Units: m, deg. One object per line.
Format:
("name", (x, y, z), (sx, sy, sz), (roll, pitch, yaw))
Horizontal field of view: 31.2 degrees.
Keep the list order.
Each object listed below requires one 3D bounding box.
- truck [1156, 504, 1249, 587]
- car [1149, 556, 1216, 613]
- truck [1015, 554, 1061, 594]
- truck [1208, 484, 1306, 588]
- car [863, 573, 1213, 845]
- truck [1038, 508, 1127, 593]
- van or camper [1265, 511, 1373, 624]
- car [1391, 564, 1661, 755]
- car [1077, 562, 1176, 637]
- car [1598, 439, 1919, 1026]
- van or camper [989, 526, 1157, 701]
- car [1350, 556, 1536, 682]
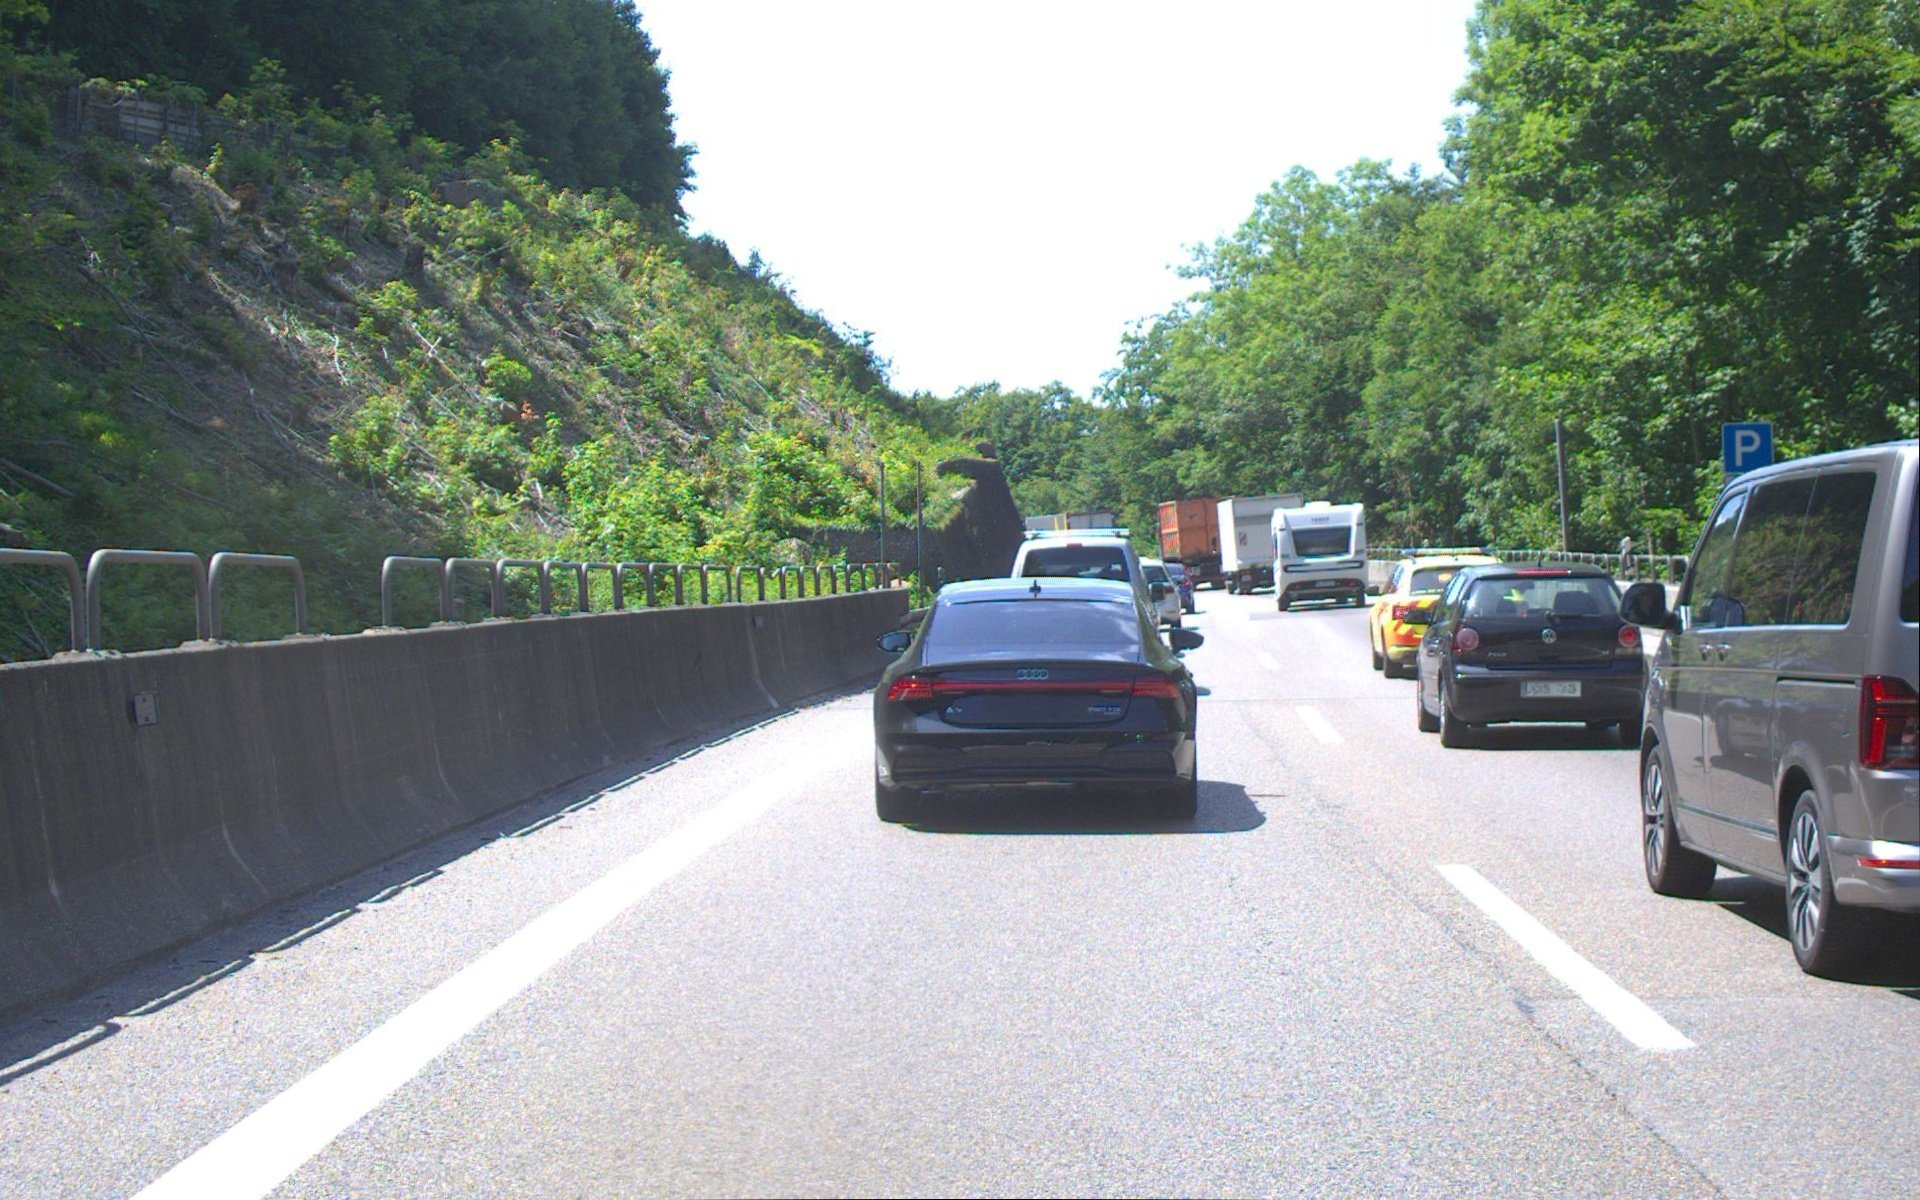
("truck", (10.277, -2.298, 146.557), (3.163, 3.456, 8.222), (0, 1, -2))
("car", (6.198, -0.440, 96.050), (1.751, 1.565, 3.771), (0, 1, 2))
("truck", (3.939, -1.321, 173.936), (1.993, 2.007, 4.001), (0, 1, -3))
("truck", (10.797, -2.312, 125.653), (2.925, 3.674, 7.724), (0, 1, 0))
("car", (0.371, 0.583, 21.225), (1.904, 1.484, 4.379), (0, 1, -2))
("truck", (6.591, -2.682, 186.654), (3.709, 4.488, 7.726), (0, 1, -7))
("van or camper", (9.302, -0.853, 89.613), (2.604, 2.845, 6.334), (0, 1, 4))
("car", (4.599, 0.438, 28.437), (1.685, 1.453, 4.000), (0, 1, 2))
("car", (3.559, -0.026, 74.159), (1.895, 1.579, 3.771), (0, 1, -1))
("car", (3.908, 0.406, 13.623), (1.940, 1.924, 4.694), (0, 1, 1))
("van or camper", (1.323, 0.129, 40.266), (1.853, 1.935, 4.165), (0, 1, 2))
("car", (5.873, 0.200, 42.208), (1.808, 1.473, 4.081), (0, 1, 2))
